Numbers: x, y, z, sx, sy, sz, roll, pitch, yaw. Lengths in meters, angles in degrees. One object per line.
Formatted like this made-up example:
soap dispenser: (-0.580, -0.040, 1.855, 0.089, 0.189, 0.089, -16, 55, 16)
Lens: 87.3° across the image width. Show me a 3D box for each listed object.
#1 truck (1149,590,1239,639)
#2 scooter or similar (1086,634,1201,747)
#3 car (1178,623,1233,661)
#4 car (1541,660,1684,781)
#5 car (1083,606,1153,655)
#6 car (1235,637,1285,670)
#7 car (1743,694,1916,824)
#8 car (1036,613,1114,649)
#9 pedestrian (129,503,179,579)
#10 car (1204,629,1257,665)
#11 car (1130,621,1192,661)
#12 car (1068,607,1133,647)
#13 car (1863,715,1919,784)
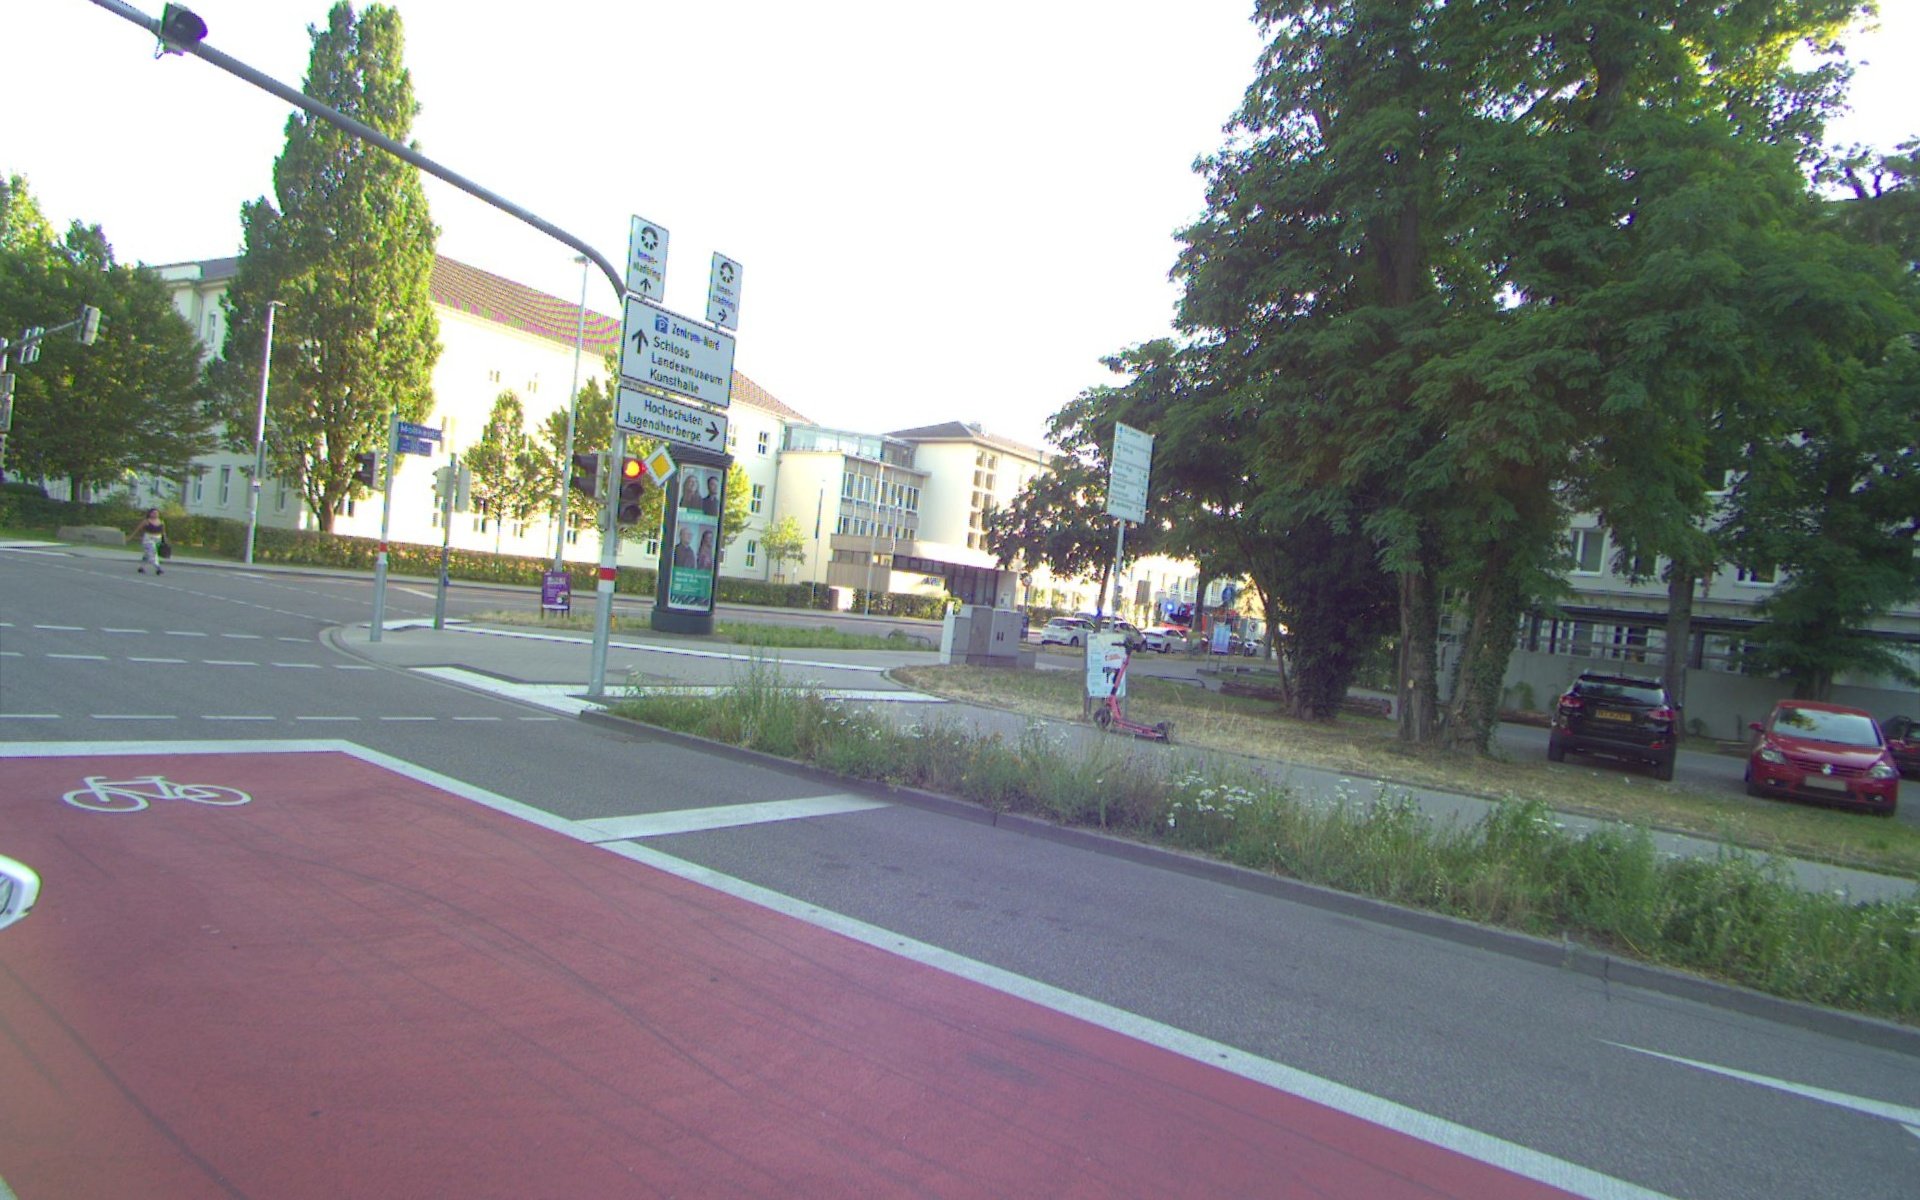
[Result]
truck: (15.858, 1.060, 67.465, 2.327, 2.315, 10.049, 7, -1, 34)
scooter or similar: (2.327, 1.135, 12.810, 1.289, 1.247, 0.311, 7, 1, 32)
car: (14.605, 2.494, 59.731, 1.698, 1.879, 3.989, 7, -1, 35)
car: (11.763, 2.109, 18.066, 1.808, 1.715, 3.899, 7, -1, 36)
car: (8.063, 1.584, 51.190, 1.713, 2.038, 3.988, 7, -1, 36)
car: (20.370, 3.656, 68.238, 1.873, 1.831, 3.988, 7, -1, 36)
car: (13.992, 2.453, 16.405, 1.759, 1.581, 3.984, 7, 0, 38)
car: (5.476, 1.491, 47.710, 1.793, 1.358, 3.985, 6, 0, 37)
pedestrian: (-18.972, -1.385, 23.673, 0.680, 1.656, 0.600, 7, 1, 32)
car: (17.220, 3.030, 63.860, 1.789, 1.893, 4.136, 7, -1, 35)
car: (11.072, 2.268, 55.108, 1.720, 1.783, 3.989, 7, -1, 35)
car: (7.745, 1.511, 55.218, 1.720, 1.783, 3.989, 7, -1, 35)
car: (23.178, 3.620, 24.035, 1.873, 1.459, 3.987, 7, -1, 37)
